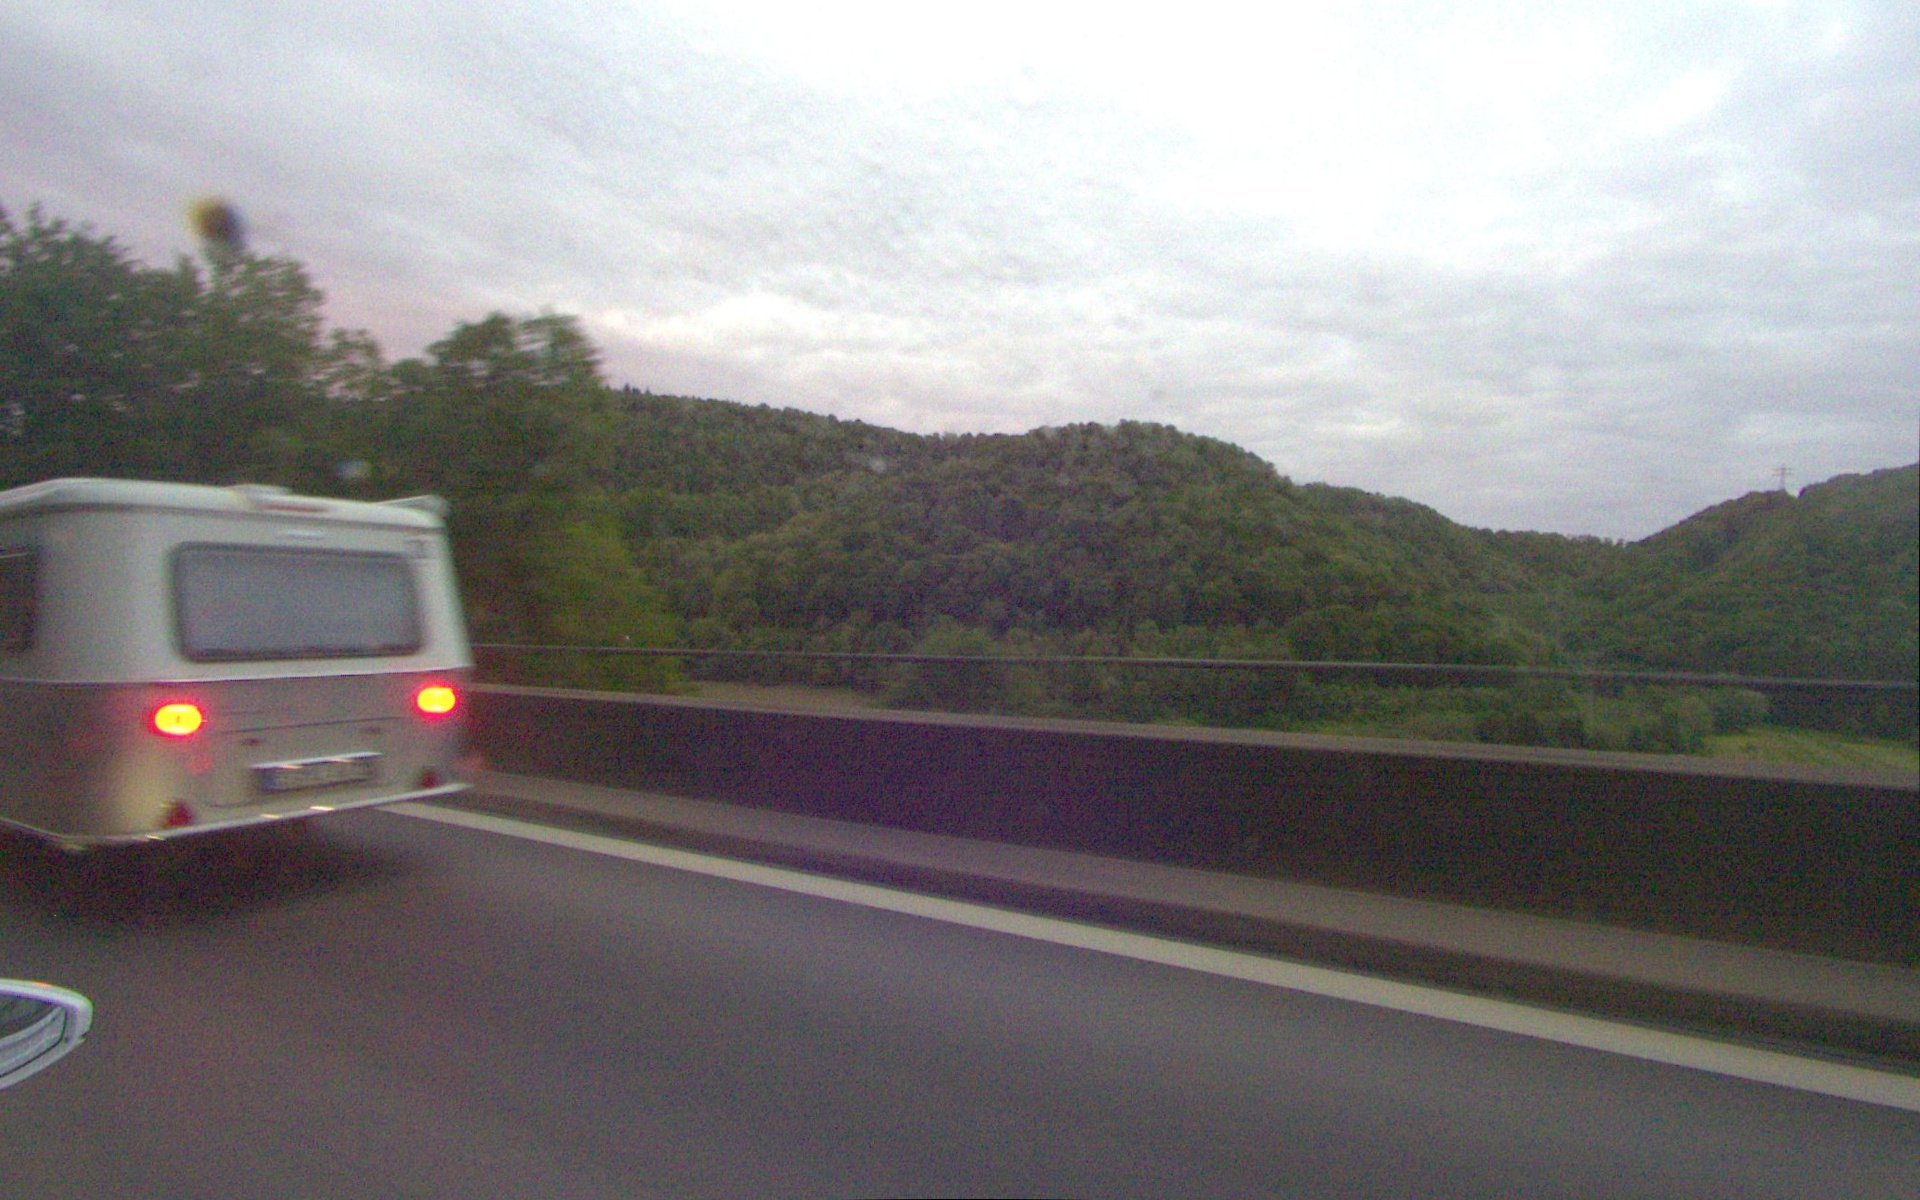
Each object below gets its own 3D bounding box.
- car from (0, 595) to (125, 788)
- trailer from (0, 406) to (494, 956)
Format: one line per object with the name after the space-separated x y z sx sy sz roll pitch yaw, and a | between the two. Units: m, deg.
-10.251 0.805 9.657 4.794 1.635 1.990 -1 -1 32 | car
-5.860 0.391 6.835 5.853 2.406 2.050 -1 0 33 | trailer
